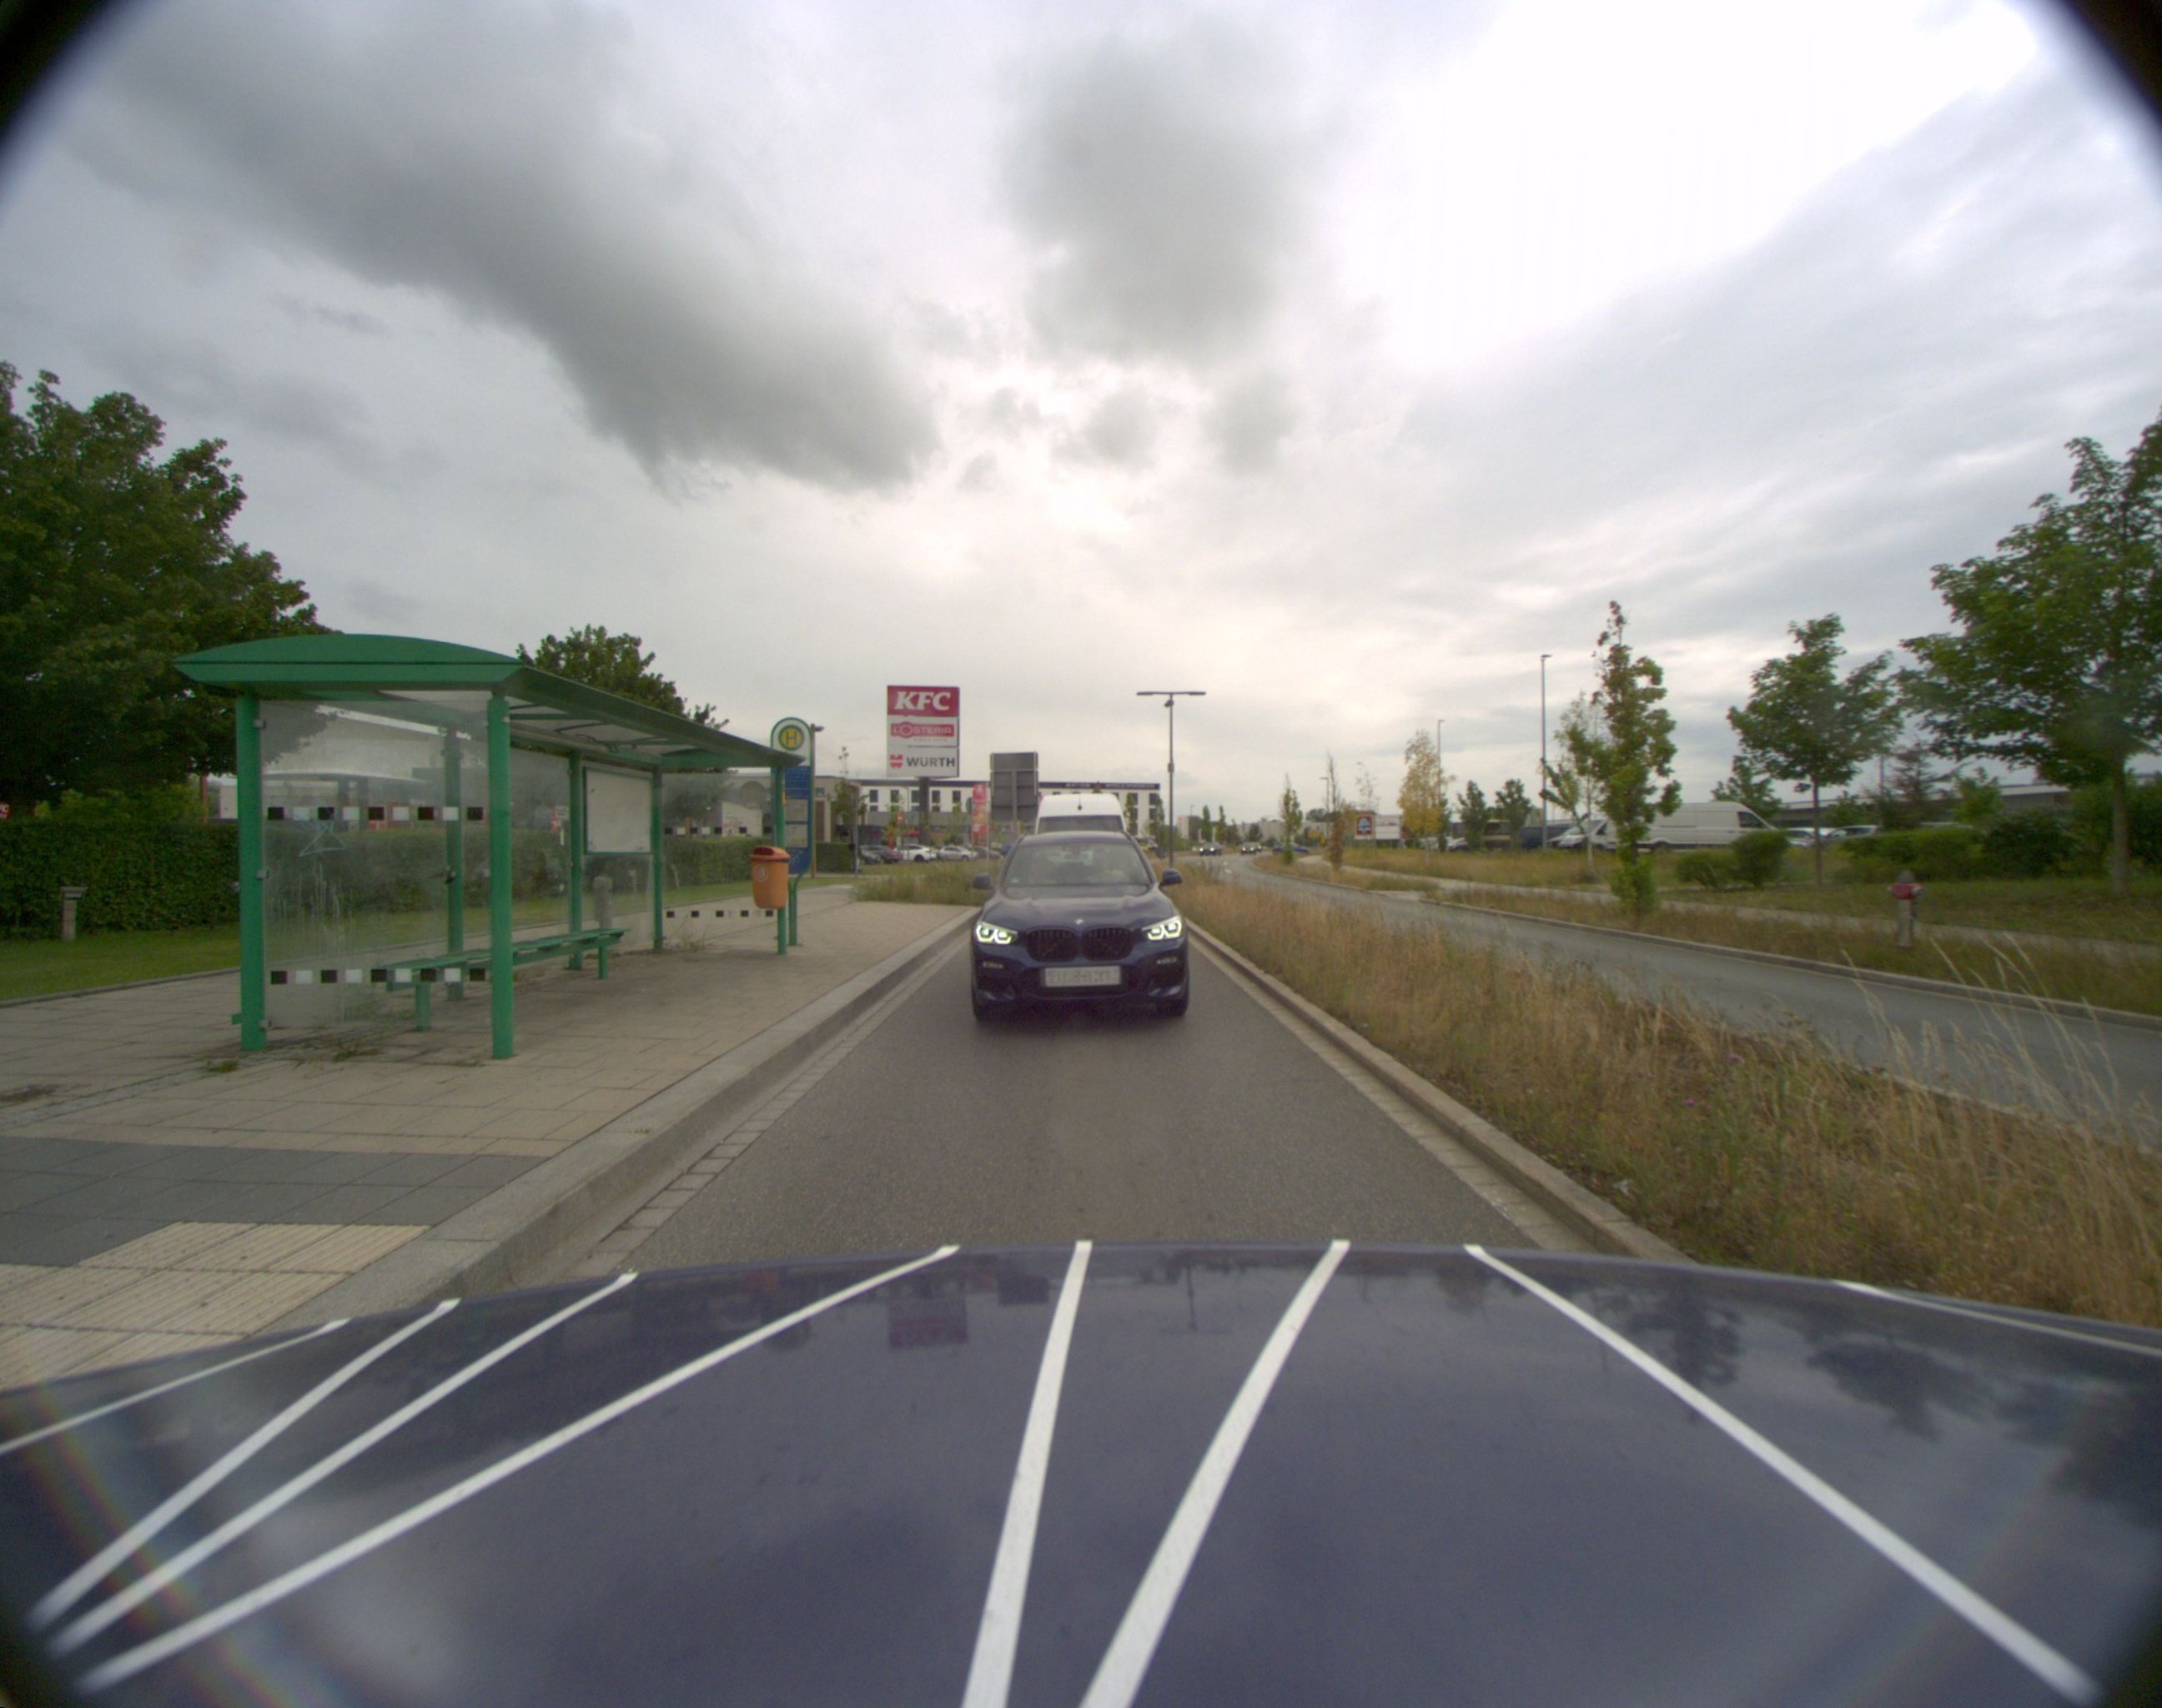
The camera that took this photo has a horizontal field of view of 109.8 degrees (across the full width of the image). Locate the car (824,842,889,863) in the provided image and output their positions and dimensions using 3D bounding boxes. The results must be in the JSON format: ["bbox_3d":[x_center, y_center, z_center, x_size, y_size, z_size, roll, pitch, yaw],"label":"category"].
[{"bbox_3d":[-15.975,-0.139,54.177,3.994,1.477,1.848,0,1,8],"label":"car"}]

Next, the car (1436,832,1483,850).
[{"bbox_3d":[39.264,-1.319,78.931,3.992,1.660,2.002,-2,0,16],"label":"car"}]

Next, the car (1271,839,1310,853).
[{"bbox_3d":[23.581,-0.915,85.634,4.004,1.504,1.731,-1,1,-22],"label":"car"}]

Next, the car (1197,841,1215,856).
[{"bbox_3d":[15.227,-0.679,92.077,1.997,1.565,4.002,-2,2,11],"label":"car"}]

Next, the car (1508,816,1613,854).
[{"bbox_3d":[29.180,-1.124,46.384,5.050,2.211,2.065,0,1,7],"label":"car"}]

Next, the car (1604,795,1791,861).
[{"bbox_3d":[27.230,-1.125,33.723,6.413,2.609,2.065,-2,2,4],"label":"car"}]

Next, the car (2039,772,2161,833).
[{"bbox_3d":[42.987,-2.085,30.673,2.064,2.359,5.054,-2,2,-4],"label":"car"}]

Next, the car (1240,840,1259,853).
[{"bbox_3d":[21.205,-0.963,95.557,1.996,1.565,4.004,-1,2,16],"label":"car"}]

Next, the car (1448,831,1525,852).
[{"bbox_3d":[32.657,-0.981,61.335,5.049,1.647,2.066,0,1,10],"label":"car"}]

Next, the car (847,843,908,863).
[{"bbox_3d":[-15.204,-0.094,56.906,3.994,1.477,1.848,0,1,8],"label":"car"}]

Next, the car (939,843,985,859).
[{"bbox_3d":[-11.475,-0.311,73.377,3.993,1.477,1.849,0,1,13],"label":"car"}]

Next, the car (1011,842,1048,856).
[{"bbox_3d":[-6.067,-0.589,89.711,3.992,1.478,1.849,-1,2,17],"label":"car"}]

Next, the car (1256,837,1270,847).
[{"bbox_3d":[29.624,-1.990,123.924,1.997,1.565,4.002,-2,2,11],"label":"car"}]

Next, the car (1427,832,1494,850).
[{"bbox_3d":[34.297,-1.169,68.753,5.049,1.647,2.066,0,1,10],"label":"car"}]

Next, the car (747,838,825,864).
[{"bbox_3d":[-18.071,-0.188,46.675,3.997,1.519,1.847,0,1,1],"label":"car"}]

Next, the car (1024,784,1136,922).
[{"bbox_3d":[-0.045,-0.058,16.878,2.026,2.513,6.103,0,1,0],"label":"car"}]

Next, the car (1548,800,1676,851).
[{"bbox_3d":[27.046,-1.439,38.804,5.053,2.359,2.064,-2,2,1],"label":"car"}]

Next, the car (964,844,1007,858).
[{"bbox_3d":[-9.787,-0.310,77.880,3.993,1.477,1.849,0,1,13],"label":"car"}]

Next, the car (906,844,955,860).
[{"bbox_3d":[-13.628,-0.198,68.848,3.994,1.477,1.848,0,1,8],"label":"car"}]

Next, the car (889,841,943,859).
[{"bbox_3d":[-13.793,-0.334,63.642,3.994,1.513,1.848,0,1,8],"label":"car"}]

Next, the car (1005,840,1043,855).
[{"bbox_3d":[-6.531,-0.757,87.122,3.992,1.478,1.849,-1,2,17],"label":"car"}]

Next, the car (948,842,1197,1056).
[{"bbox_3d":[-0.074,0.689,7.701,1.867,1.598,3.999,0,1,-1],"label":"car"}]
